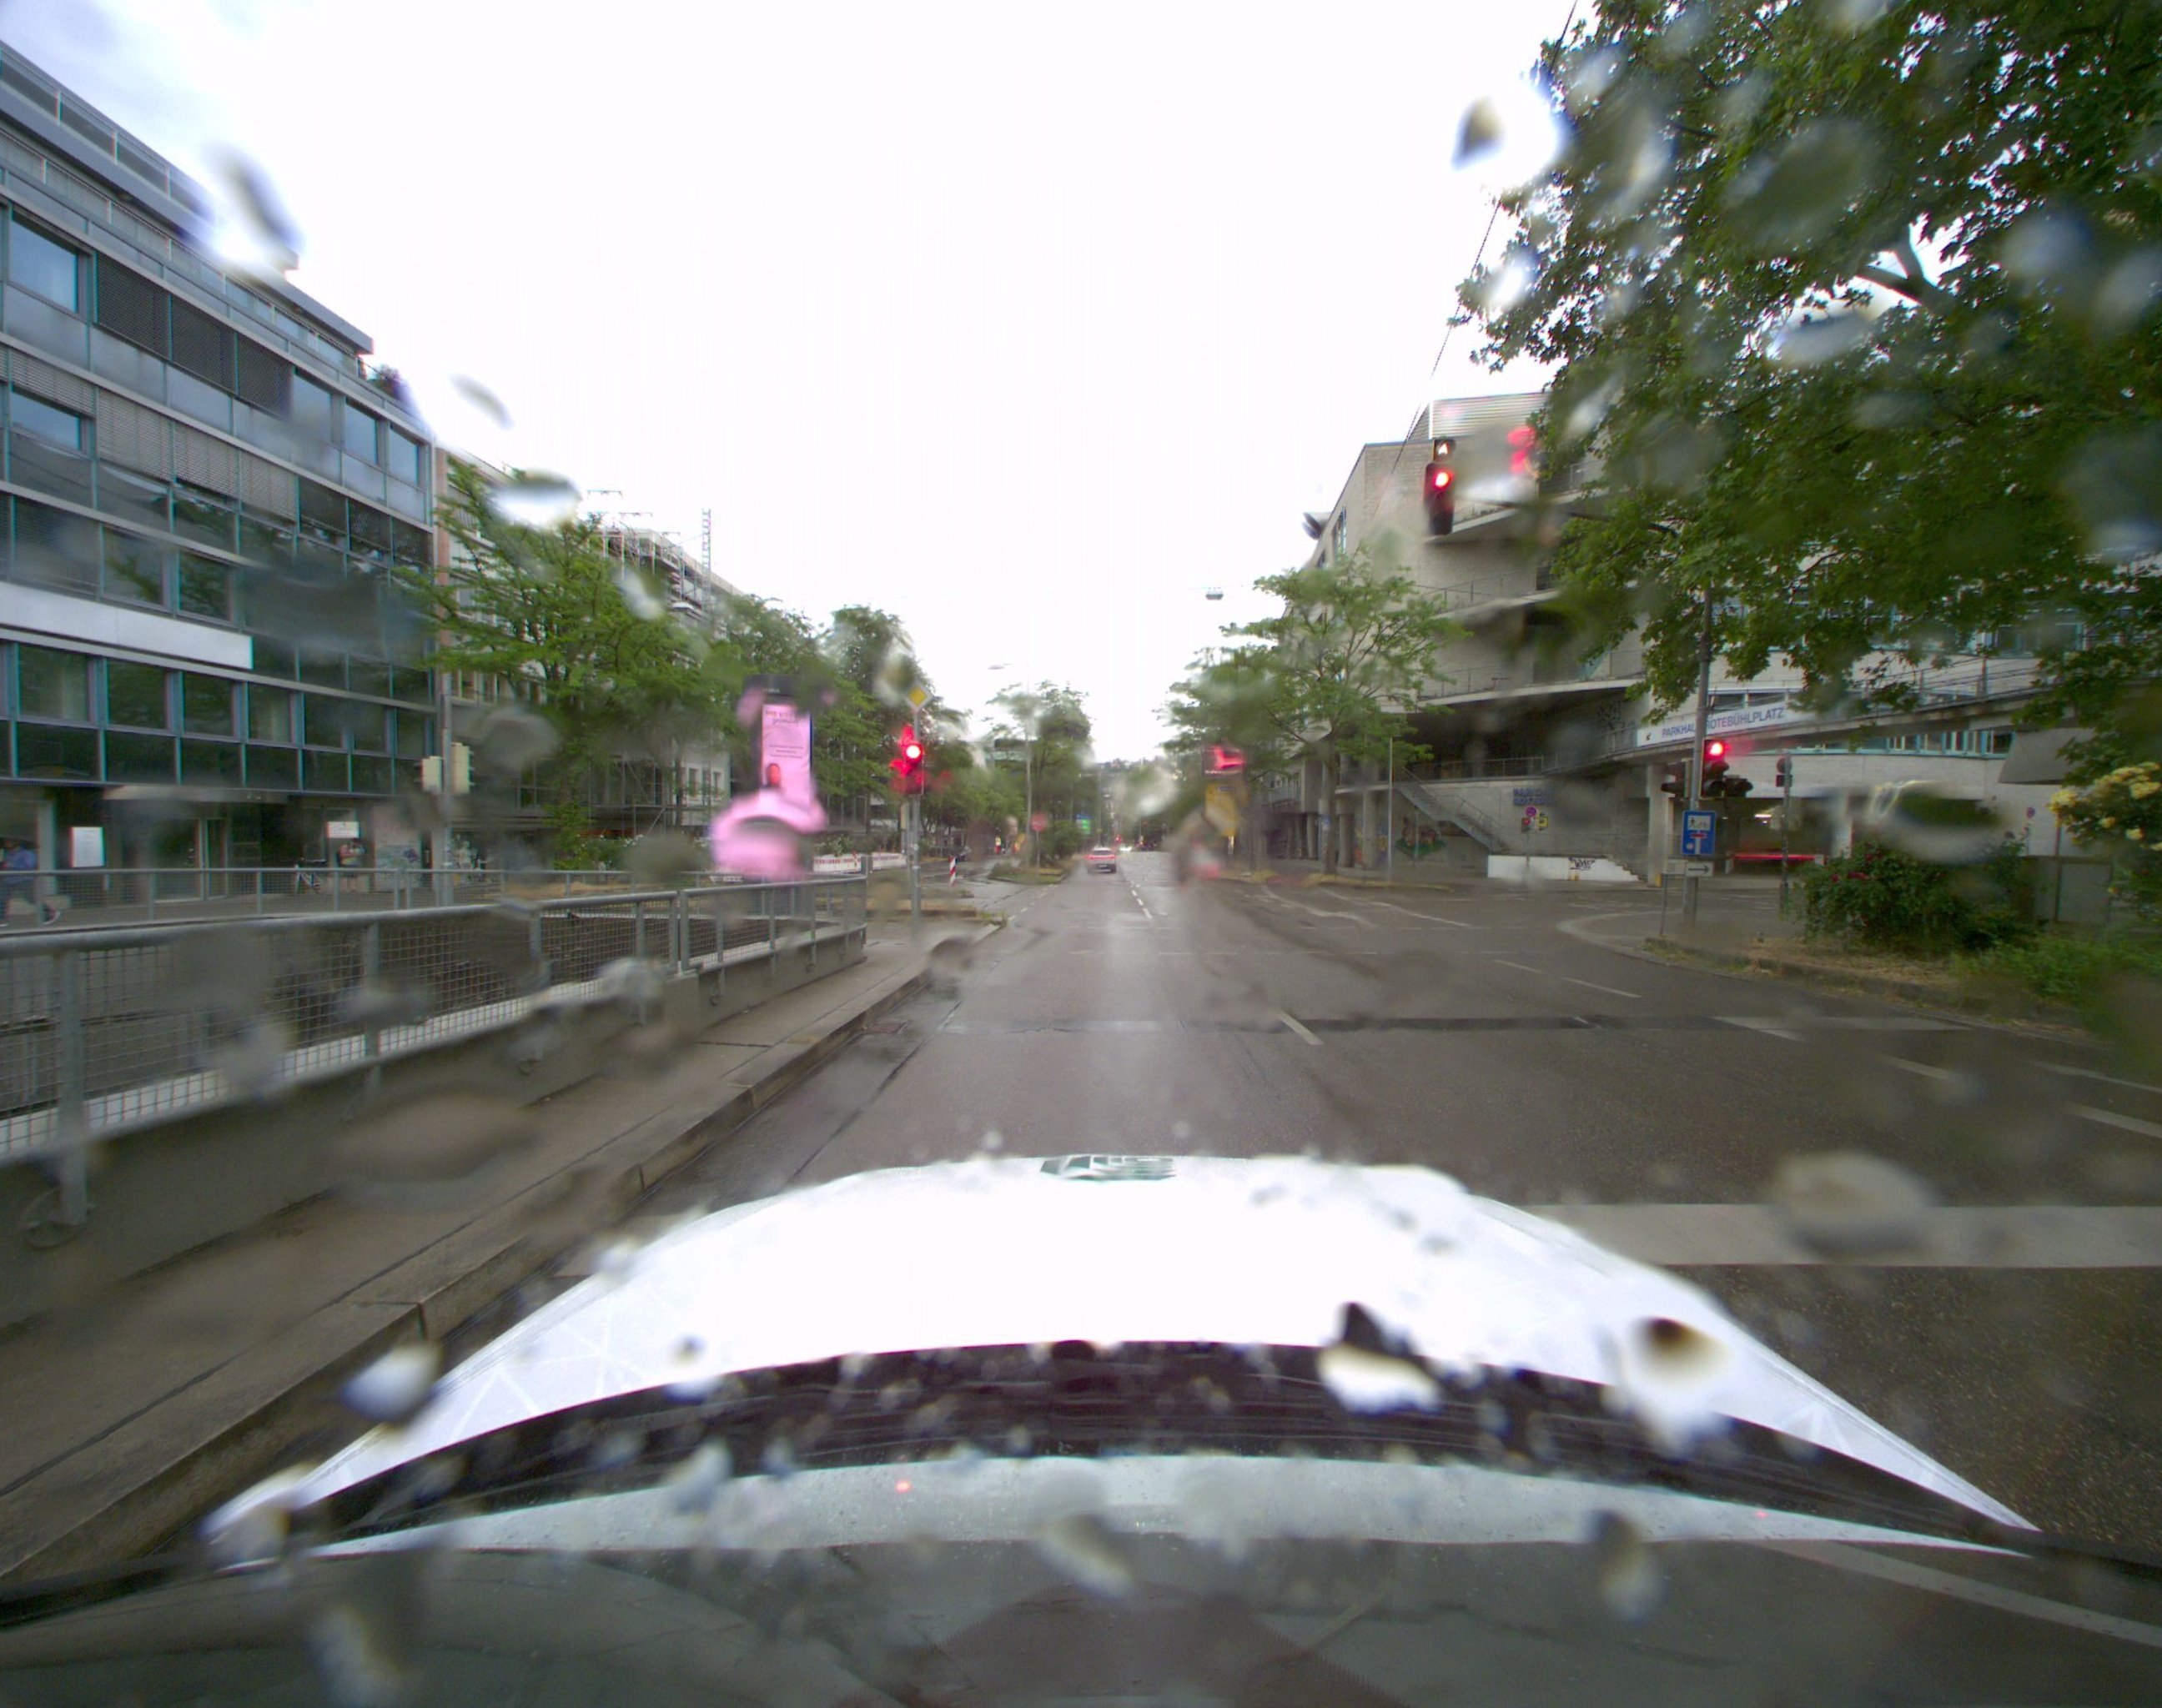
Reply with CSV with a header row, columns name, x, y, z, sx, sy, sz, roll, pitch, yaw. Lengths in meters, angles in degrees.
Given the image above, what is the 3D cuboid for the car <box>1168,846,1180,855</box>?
name,x,y,z,sx,sy,sz,roll,pitch,yaw
car,17.621,-0.672,154.642,1.986,1.723,4.001,0,-1,1

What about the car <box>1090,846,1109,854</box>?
name,x,y,z,sx,sy,sz,roll,pitch,yaw
car,4.263,-1.000,187.956,4.007,1.758,1.983,1,0,-26

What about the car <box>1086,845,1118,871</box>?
name,x,y,z,sx,sy,sz,roll,pitch,yaw
car,1.338,0.271,53.911,1.824,1.640,4.297,1,0,-2

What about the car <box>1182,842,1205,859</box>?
name,x,y,z,sx,sy,sz,roll,pitch,yaw
car,11.539,-0.362,83.337,2.324,1.691,4.010,0,0,9

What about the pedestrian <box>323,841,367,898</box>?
name,x,y,z,sx,sy,sz,roll,pitch,yaw
pedestrian,-22.808,0.478,25.233,0.694,1.741,0.694,1,0,-4

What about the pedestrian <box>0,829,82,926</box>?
name,x,y,z,sx,sy,sz,roll,pitch,yaw
pedestrian,-20.842,0.443,16.089,0.854,1.838,1.060,1,0,2

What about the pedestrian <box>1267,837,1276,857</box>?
name,x,y,z,sx,sy,sz,roll,pitch,yaw
pedestrian,18.182,-0.691,77.861,0.770,1.920,0.705,-1,-1,11

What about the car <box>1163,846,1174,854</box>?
name,x,y,z,sx,sy,sz,roll,pitch,yaw
car,17.868,-0.791,166.635,1.986,1.736,4.001,0,-1,2

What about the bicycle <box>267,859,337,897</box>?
name,x,y,z,sx,sy,sz,roll,pitch,yaw
bicycle,-22.954,0.693,24.032,0.444,1.085,1.567,0,0,6
